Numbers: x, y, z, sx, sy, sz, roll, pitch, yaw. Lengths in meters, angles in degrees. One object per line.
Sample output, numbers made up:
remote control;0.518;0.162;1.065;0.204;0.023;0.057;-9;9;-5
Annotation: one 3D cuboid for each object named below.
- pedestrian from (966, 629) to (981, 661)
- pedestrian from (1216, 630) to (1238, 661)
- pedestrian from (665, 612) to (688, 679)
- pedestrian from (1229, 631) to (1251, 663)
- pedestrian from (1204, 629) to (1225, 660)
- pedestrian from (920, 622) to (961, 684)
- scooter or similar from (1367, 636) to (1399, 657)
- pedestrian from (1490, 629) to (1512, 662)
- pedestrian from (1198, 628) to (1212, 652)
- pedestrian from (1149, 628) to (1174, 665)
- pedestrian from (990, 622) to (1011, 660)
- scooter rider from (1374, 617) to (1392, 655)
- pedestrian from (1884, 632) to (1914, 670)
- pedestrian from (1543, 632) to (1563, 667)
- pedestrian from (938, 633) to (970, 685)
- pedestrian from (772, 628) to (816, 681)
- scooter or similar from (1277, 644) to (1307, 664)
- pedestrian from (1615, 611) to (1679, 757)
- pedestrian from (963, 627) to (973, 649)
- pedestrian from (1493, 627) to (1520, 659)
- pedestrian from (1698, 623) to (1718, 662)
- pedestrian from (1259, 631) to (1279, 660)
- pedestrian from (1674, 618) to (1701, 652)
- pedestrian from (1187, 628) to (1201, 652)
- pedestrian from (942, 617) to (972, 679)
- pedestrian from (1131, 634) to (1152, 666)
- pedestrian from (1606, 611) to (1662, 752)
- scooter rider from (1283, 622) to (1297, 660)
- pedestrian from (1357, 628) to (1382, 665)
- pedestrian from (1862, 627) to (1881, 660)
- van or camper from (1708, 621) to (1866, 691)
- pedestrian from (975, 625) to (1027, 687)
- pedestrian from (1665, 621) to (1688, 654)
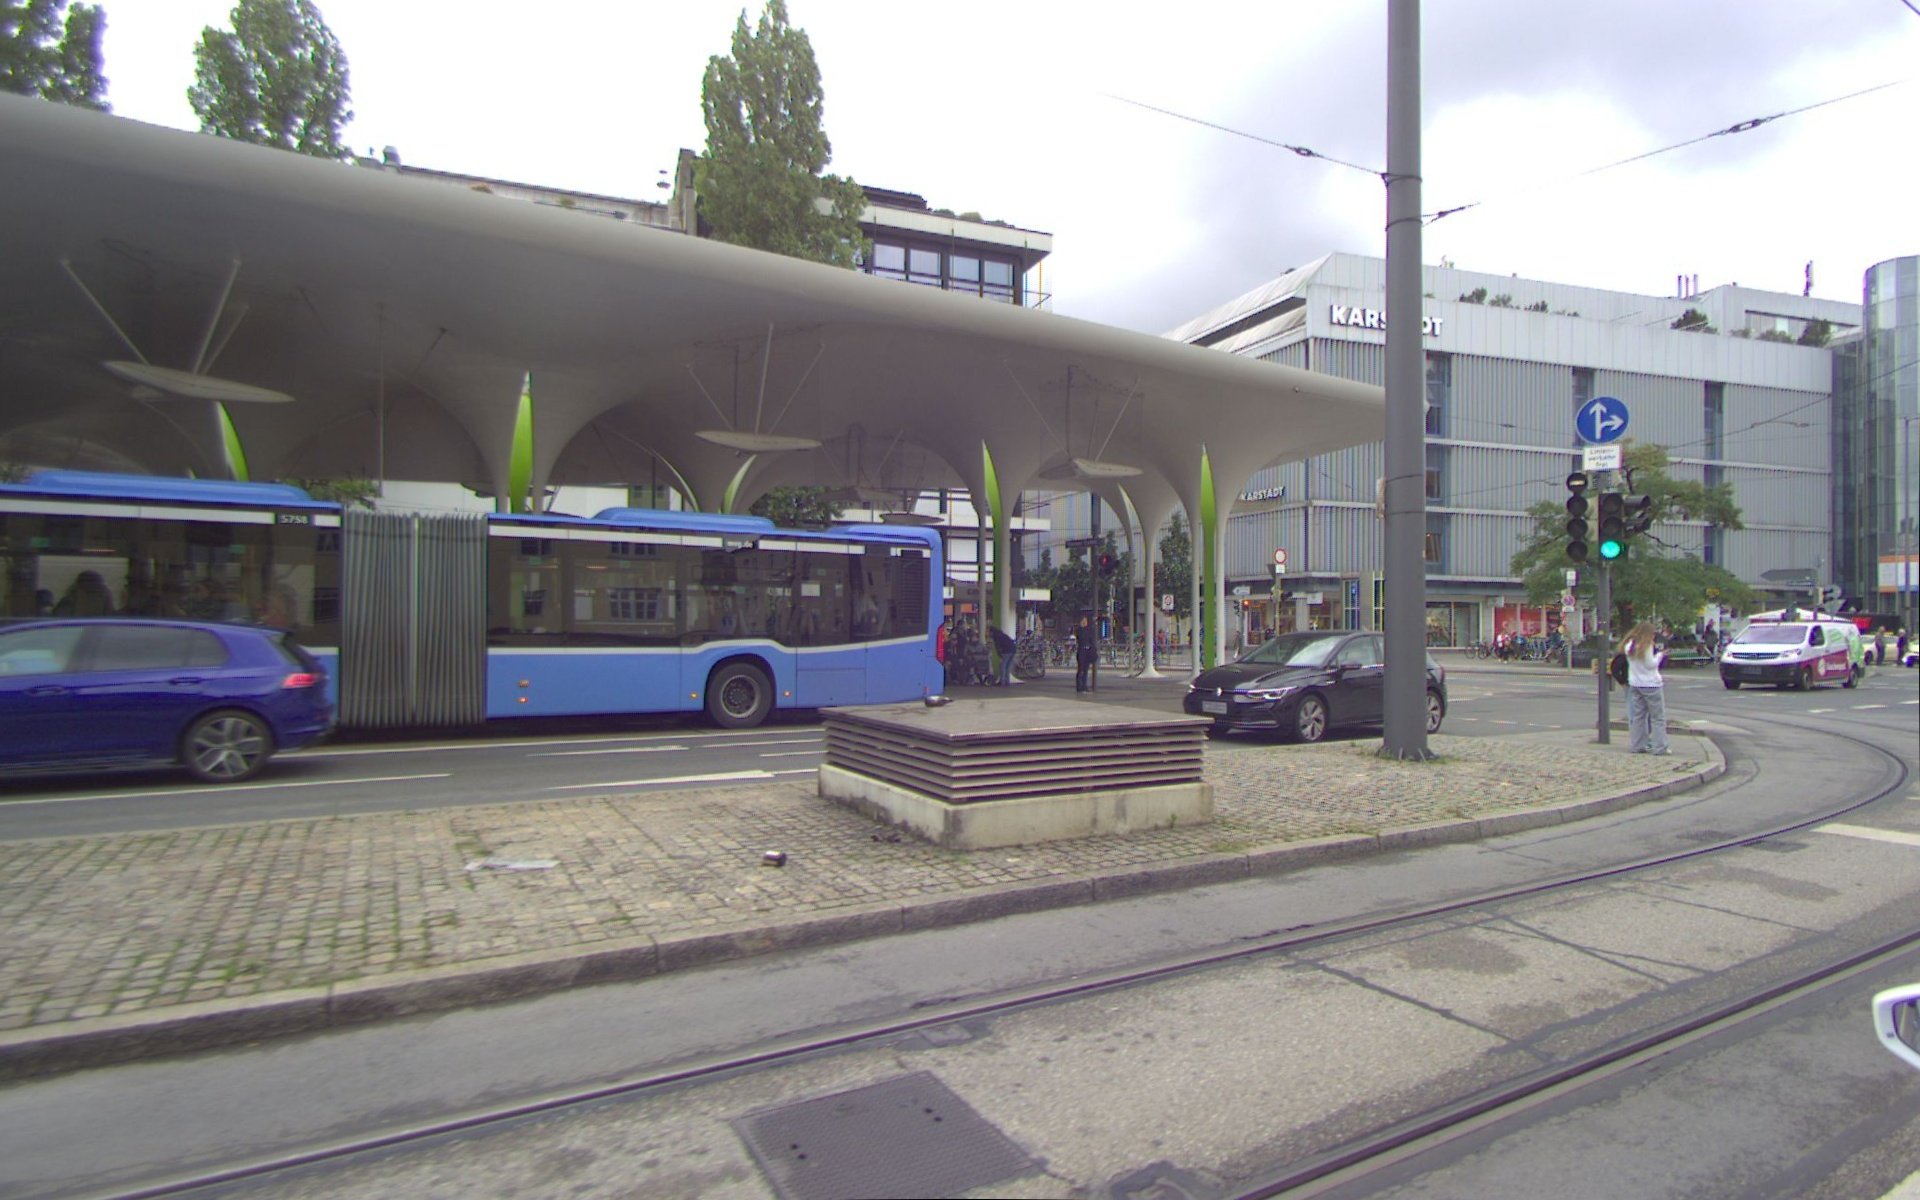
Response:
pedestrian;0.672;2.268;50.754;0.589;1.555;0.503;1;-1;-26
pedestrian;14.427;2.451;54.293;0.934;1.609;0.739;1;-1;-18
pedestrian;-8.339;1.337;29.532;0.475;1.958;0.422;0;-1;32
pedestrian;14.843;2.460;53.203;0.844;1.664;0.786;1;-1;-18
pedestrian;13.964;2.431;55.096;0.838;1.676;0.799;1;-1;-18
pedestrian;-0.504;1.346;25.751;0.787;1.550;0.730;1;-1;-27
scooter or similar;20.589;2.234;48.915;1.383;0.995;0.413;-1;-2;40
pedestrian;25.758;2.165;47.834;0.708;1.595;0.639;1;-1;-10
pedestrian;16.166;2.656;66.364;0.646;1.573;0.678;1;-1;-21
pedestrian;9.302;2.131;46.401;0.779;1.663;0.853;1;-1;-25
pedestrian;1.991;2.030;49.793;0.815;1.824;0.718;1;-1;-19
scooter rider;20.606;1.752;48.909;0.657;1.859;0.617;-1;-1;39
pedestrian;42.935;2.338;45.931;0.741;1.713;0.768;1;-1;-25
pedestrian;29.016;2.408;49.175;0.774;1.710;0.862;0;-1;26
pedestrian;-0.140;1.458;24.850;0.605;1.252;0.535;1;-1;-30
pedestrian;-4.278;1.395;25.950;0.822;1.335;0.880;0;-1;16
scooter or similar;16.435;2.669;49.717;1.378;0.995;0.414;0;-1;27
pedestrian;7.955;0.954;11.643;0.454;1.640;0.522;0;-1;14
pedestrian;0.758;3.651;96.525;0.728;2.040;0.871;1;-1;-23
pedestrian;27.944;2.183;51.341;0.962;1.602;0.796;1;-1;-19
pedestrian;34.591;1.970;46.458;0.739;1.796;0.770;-1;-1;37
pedestrian;18.098;2.670;58.861;0.774;1.710;0.784;1;-1;-25
pedestrian;34.253;1.654;47.312;0.736;1.575;0.773;0;-1;9
pedestrian;15.391;2.638;65.993;0.646;1.573;0.678;1;-1;-21
pedestrian;-0.090;1.275;27.005;0.616;1.632;0.594;1;-1;-26
pedestrian;9.892;2.717;54.805;0.838;1.676;0.799;1;-1;-18
pedestrian;8.064;0.955;12.033;0.478;1.640;0.557;0;-1;26
scooter rider;16.359;2.012;49.773;0.598;1.863;0.555;0;-1;27
pedestrian;18.845;2.131;46.211;0.804;1.640;0.831;1;-1;-44
pedestrian;52.523;2.502;57.875;0.618;1.841;0.557;1;-1;-18
van or camper;23.678;1.548;28.694;5.380;1.850;1.918;1;-1;-32
pedestrian;0.986;1.353;24.496;1.011;1.472;0.849;1;-1;-23
pedestrian;33.398;1.748;46.834;0.737;1.513;0.772;0;-1;26
